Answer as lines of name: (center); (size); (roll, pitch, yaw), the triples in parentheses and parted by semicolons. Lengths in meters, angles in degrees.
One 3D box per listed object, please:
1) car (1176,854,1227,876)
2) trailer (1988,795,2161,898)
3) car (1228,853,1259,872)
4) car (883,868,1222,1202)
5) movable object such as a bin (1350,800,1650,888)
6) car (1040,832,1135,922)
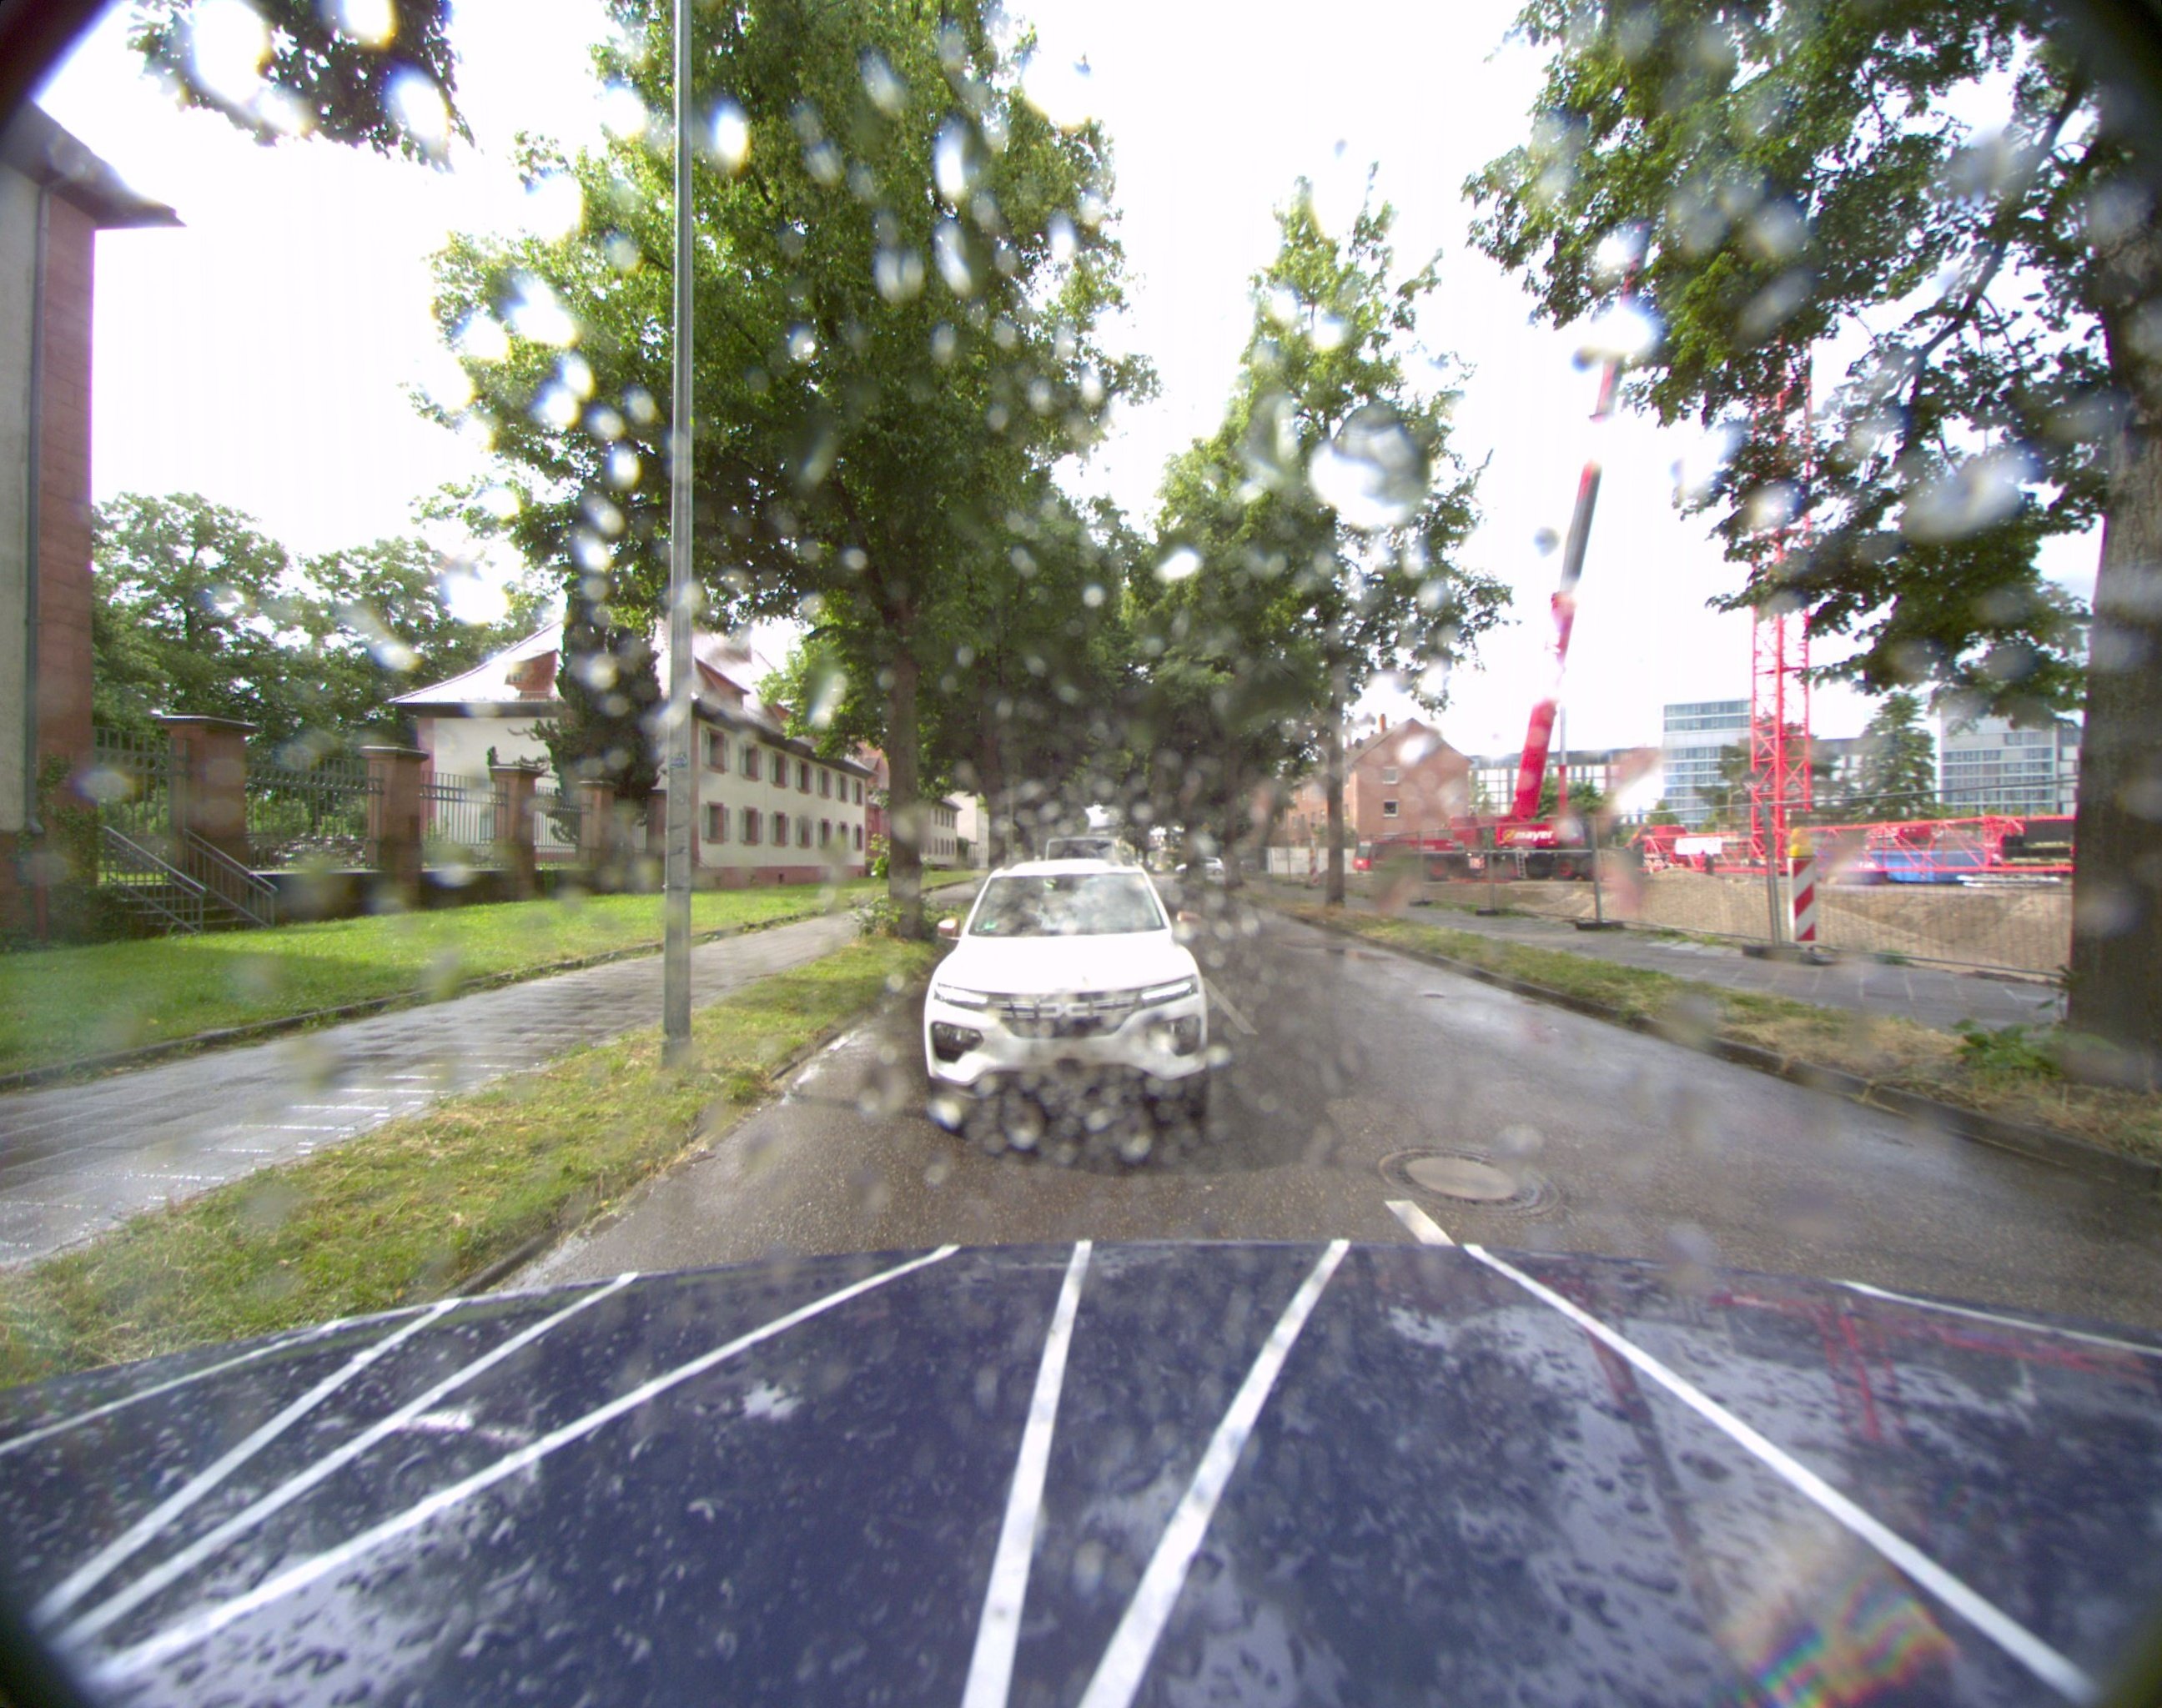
car: (9.491, 0.864, 60.234); (3.868, 1.543, 1.698); (-2, 1, 6)
trailer: (35.801, -0.288, 21.568); (2.968, 3.214, 14.308); (-4, 1, 0)
car: (13.779, 0.707, 64.656); (1.693, 1.521, 3.999); (-2, 1, -1)
car: (-0.101, 0.921, 5.701); (1.608, 1.499, 4.000); (-2, 0, 1)
movable object such as a bin: (24.878, -0.565, 45.828); (15.941, 4.532, 3.102); (-2, 1, 4)
car: (0.086, 0.501, 20.167); (2.107, 1.990, 5.433); (-2, 1, -1)
